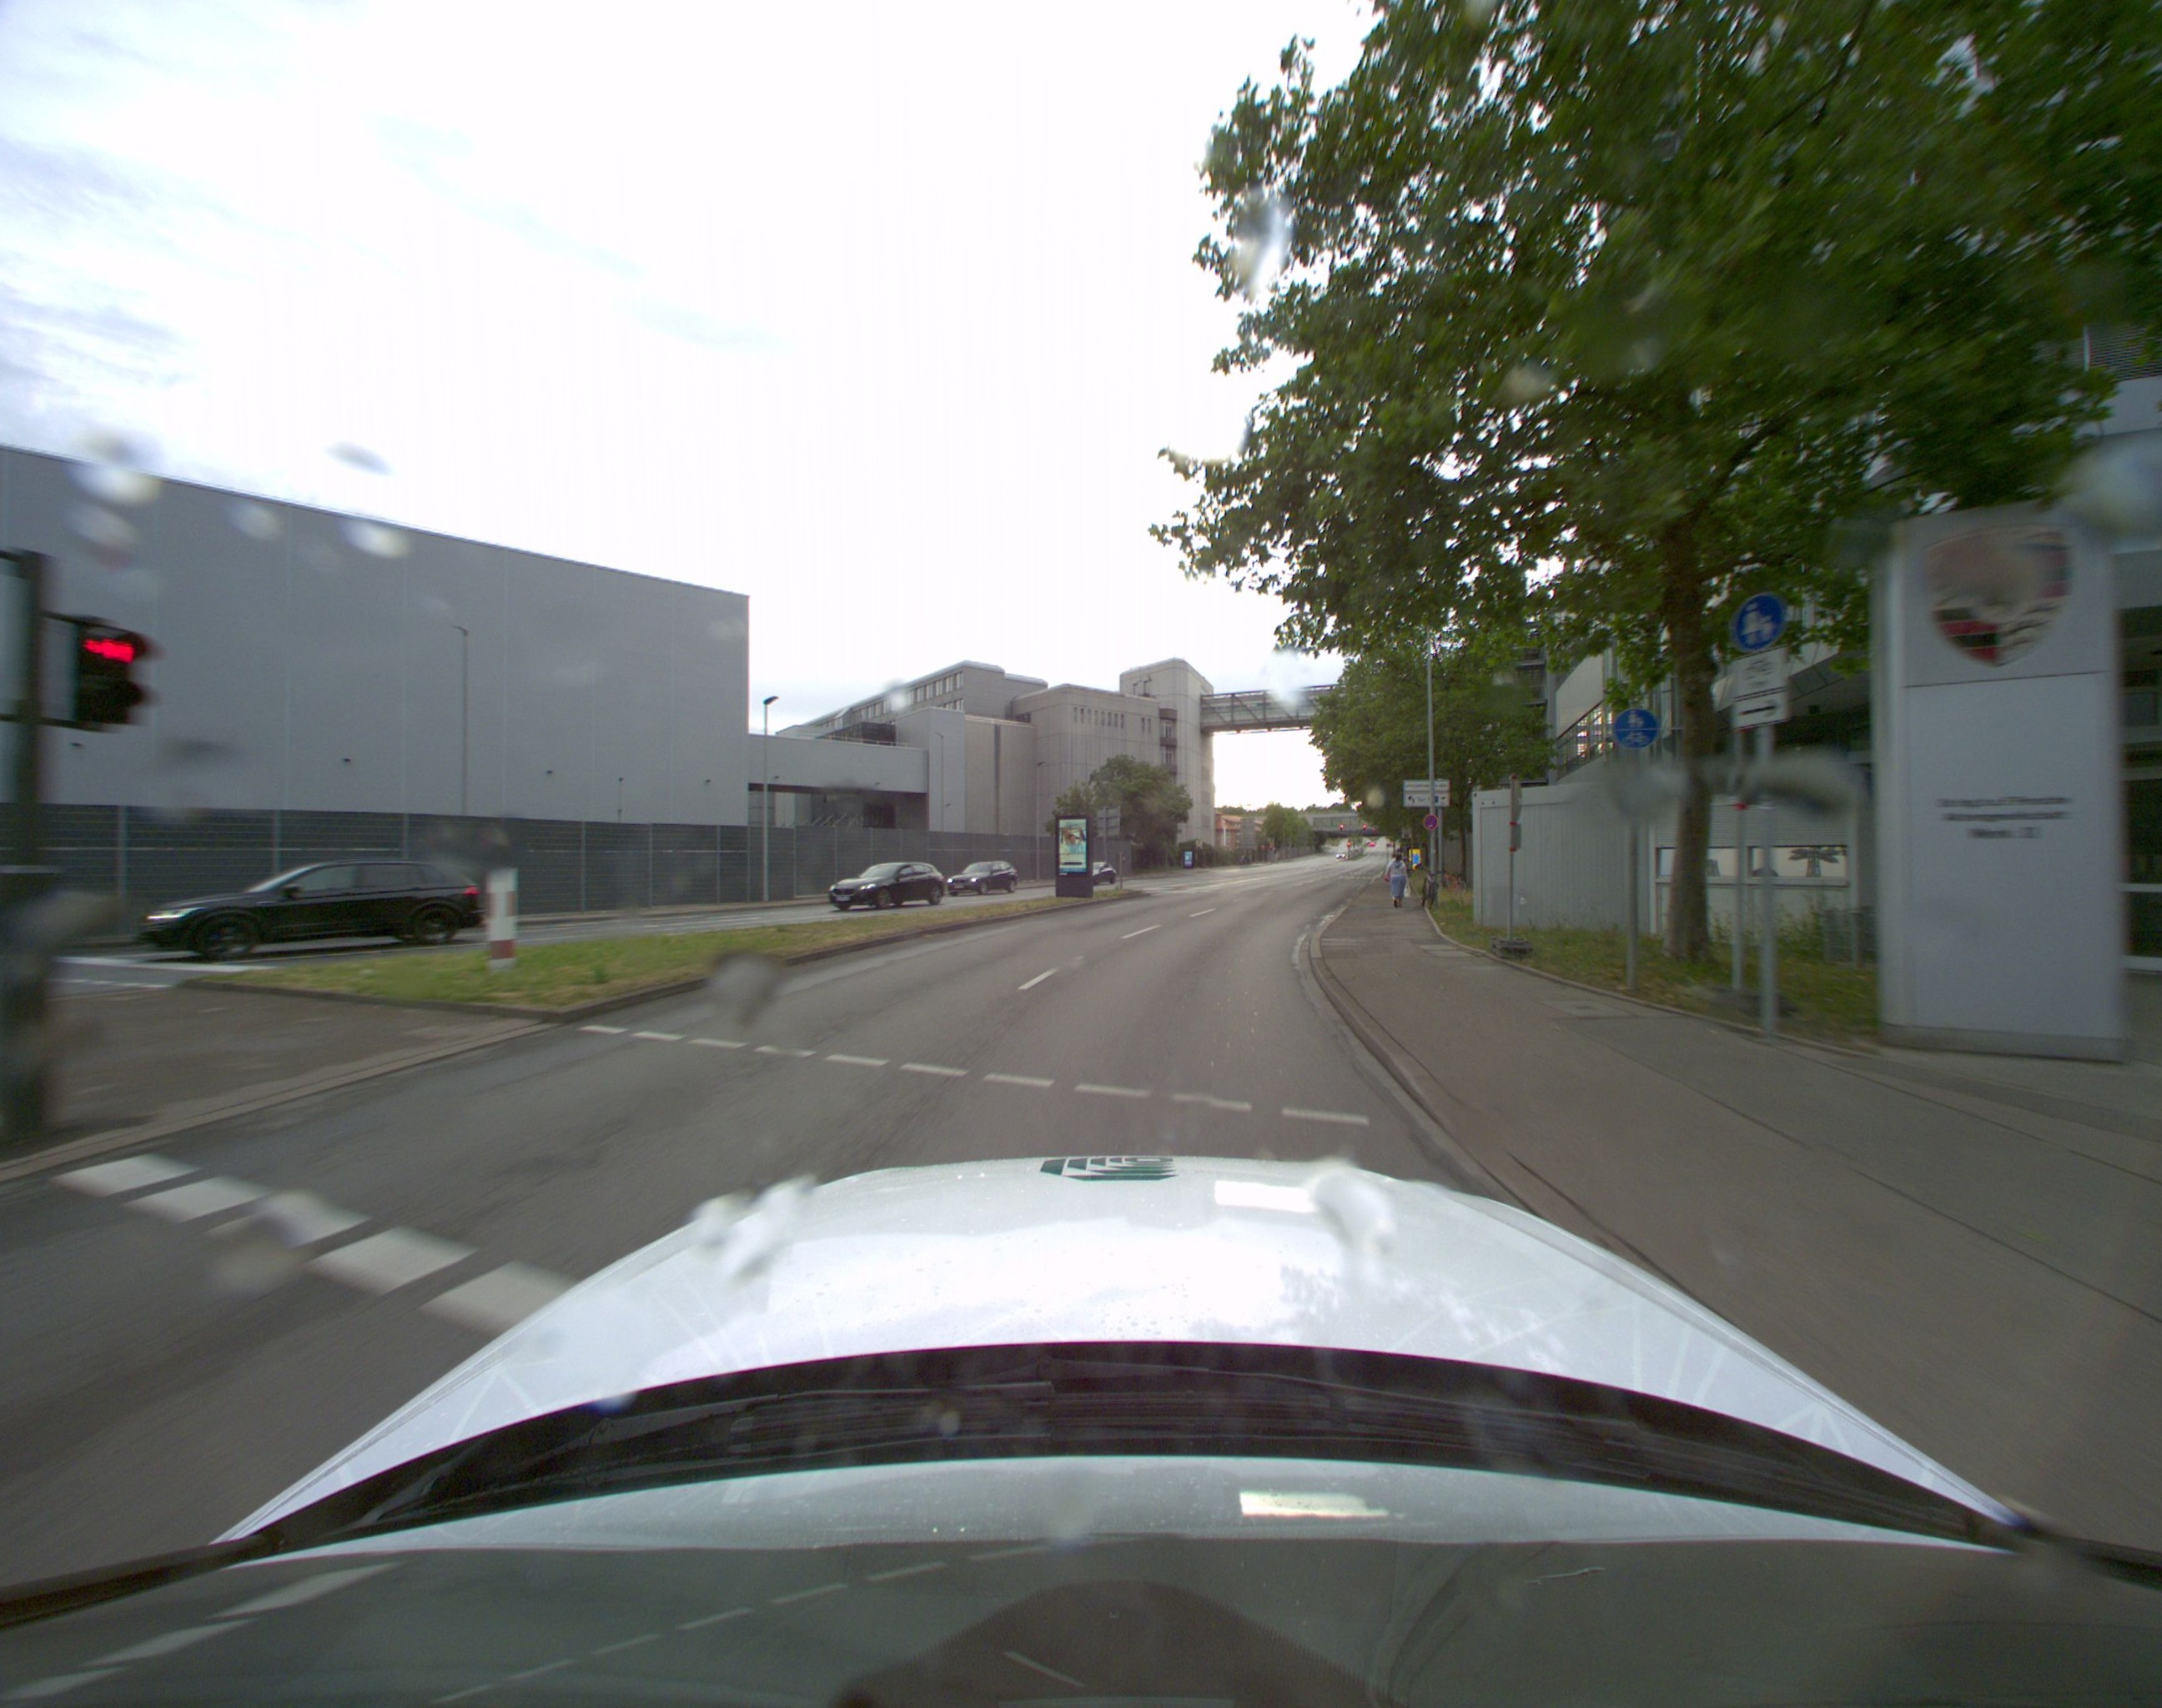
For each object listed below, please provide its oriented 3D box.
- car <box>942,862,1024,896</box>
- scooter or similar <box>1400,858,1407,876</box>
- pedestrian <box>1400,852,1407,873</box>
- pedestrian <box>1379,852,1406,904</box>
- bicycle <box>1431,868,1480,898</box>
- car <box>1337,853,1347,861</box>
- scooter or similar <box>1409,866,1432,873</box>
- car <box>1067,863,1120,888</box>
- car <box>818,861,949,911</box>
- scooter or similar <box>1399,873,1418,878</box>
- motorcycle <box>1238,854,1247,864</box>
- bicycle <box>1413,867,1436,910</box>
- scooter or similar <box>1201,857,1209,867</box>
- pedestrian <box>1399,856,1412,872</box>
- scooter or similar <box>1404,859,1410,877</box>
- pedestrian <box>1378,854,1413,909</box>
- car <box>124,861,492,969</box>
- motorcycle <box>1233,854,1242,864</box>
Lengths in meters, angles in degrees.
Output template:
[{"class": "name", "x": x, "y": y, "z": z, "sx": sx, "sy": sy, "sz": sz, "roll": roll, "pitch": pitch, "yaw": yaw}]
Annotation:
[{"class": "car", "x": -4.586, "y": 1.153, "z": 38.832, "sx": 1.767, "sy": 1.454, "sz": 4.585, "roll": -2, "pitch": -1, "yaw": 23}, {"class": "scooter or similar", "x": 23.108, "y": 0.927, "z": 58.328, "sx": 0.430, "sy": 1.270, "sz": 1.200, "roll": -1, "pitch": 0, "yaw": 21}, {"class": "pedestrian", "x": 26.088, "y": 0.687, "z": 65.923, "sx": 0.477, "sy": 1.667, "sz": 0.665, "roll": -1, "pitch": 0, "yaw": 19}, {"class": "pedestrian", "x": 9.685, "y": 0.729, "z": 25.284, "sx": 0.702, "sy": 1.592, "sz": 0.845, "roll": -1, "pitch": -1, "yaw": 26}, {"class": "bicycle", "x": 12.914, "y": 0.984, "z": 28.102, "sx": 0.513, "sy": 0.953, "sz": 1.691, "roll": 0, "pitch": 0, "yaw": -18}, {"class": "car", "x": 58.742, "y": 0.592, "z": 183.206, "sx": 1.978, "sy": 1.772, "sz": 4.018, "roll": -1, "pitch": 0, "yaw": 18}, {"class": "scooter or similar", "x": 26.460, "y": 1.224, "z": 63.424, "sx": 1.546, "sy": 0.519, "sz": 0.647, "roll": -1, "pitch": 0, "yaw": 38}, {"class": "car", "x": 0.841, "y": 1.319, "z": 50.999, "sx": 1.767, "sy": 1.385, "sz": 4.570, "roll": -3, "pitch": -1, "yaw": 21}, {"class": "car", "x": -6.277, "y": 0.969, "z": 26.418, "sx": 1.766, "sy": 1.440, "sz": 4.421, "roll": -1, "pitch": 0, "yaw": 25}, {"class": "scooter or similar", "x": 21.588, "y": 1.417, "z": 53.685, "sx": 0.650, "sy": 0.246, "sz": 1.524, "roll": -1, "pitch": 0, "yaw": 0}, {"class": "motorcycle", "x": 25.759, "y": 0.749, "z": 129.762, "sx": 0.951, "sy": 1.556, "sz": 3.316, "roll": -1, "pitch": 0, "yaw": 19}, {"class": "bicycle", "x": 9.542, "y": 0.938, "z": 22.631, "sx": 0.339, "sy": 1.118, "sz": 1.981, "roll": -1, "pitch": 0, "yaw": 16}, {"class": "scooter or similar", "x": 15.563, "y": 1.033, "z": 102.281, "sx": 0.520, "sy": 1.252, "sz": 1.810, "roll": -1, "pitch": 0, "yaw": 26}, {"class": "pedestrian", "x": 27.761, "y": 0.842, "z": 69.715, "sx": 0.942, "sy": 1.317, "sz": 0.690, "roll": -1, "pitch": -1, "yaw": 27}, {"class": "scooter or similar", "x": 22.104, "y": 0.940, "z": 55.207, "sx": 0.385, "sy": 1.226, "sz": 1.079, "roll": -1, "pitch": 0, "yaw": 21}, {"class": "pedestrian", "x": 8.957, "y": 0.779, "z": 23.159, "sx": 0.823, "sy": 1.520, "sz": 0.847, "roll": -1, "pitch": -1, "yaw": 27}, {"class": "car", "x": -13.732, "y": 0.954, "z": 14.779, "sx": 1.765, "sy": 1.588, "sz": 4.595, "roll": -1, "pitch": 0, "yaw": 36}, {"class": "motorcycle", "x": 24.232, "y": 0.777, "z": 125.885, "sx": 0.906, "sy": 1.532, "sz": 3.316, "roll": -1, "pitch": 0, "yaw": 19}]
